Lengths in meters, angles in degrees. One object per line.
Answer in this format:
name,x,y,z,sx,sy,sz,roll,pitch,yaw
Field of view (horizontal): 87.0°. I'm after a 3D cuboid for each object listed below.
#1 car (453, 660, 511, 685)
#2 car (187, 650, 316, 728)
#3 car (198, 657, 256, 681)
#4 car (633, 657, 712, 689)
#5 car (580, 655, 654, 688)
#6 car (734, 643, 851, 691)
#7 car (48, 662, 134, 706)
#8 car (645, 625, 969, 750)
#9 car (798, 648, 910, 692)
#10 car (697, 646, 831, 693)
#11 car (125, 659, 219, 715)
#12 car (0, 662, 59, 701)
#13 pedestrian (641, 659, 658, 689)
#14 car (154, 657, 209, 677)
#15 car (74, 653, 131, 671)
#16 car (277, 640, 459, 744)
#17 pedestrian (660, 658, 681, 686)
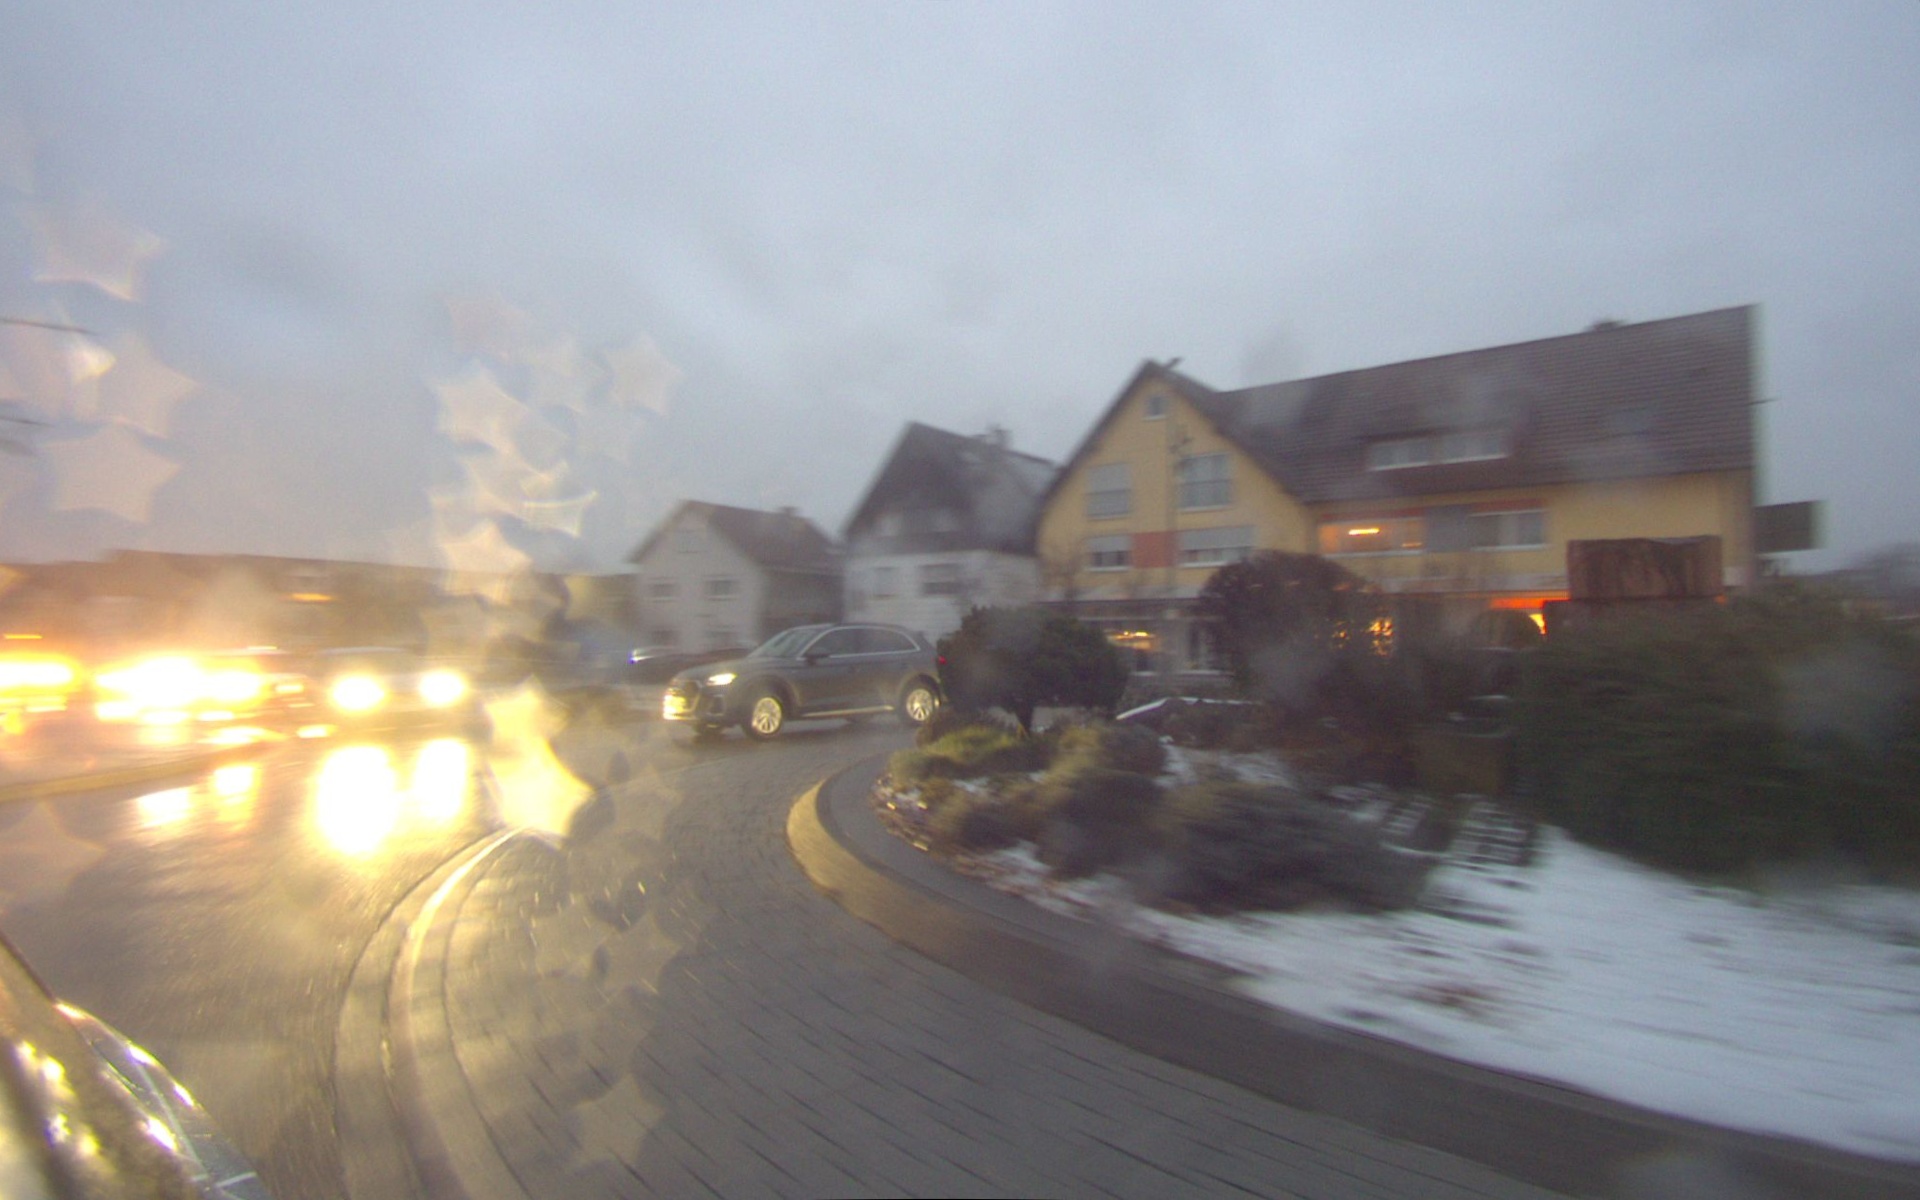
car,-29.413,4.447,62.256,3.490,1.520,1.463,-2,-4,31
car,-16.659,2.014,23.738,4.000,1.636,1.659,-3,-3,43
car,-56.165,5.271,77.534,4.236,1.841,1.783,-2,-4,27
car,-14.908,3.768,52.500,4.083,1.581,1.759,-2,-3,34
car,-18.680,3.873,55.031,3.946,1.673,1.686,-2,-3,31
car,-6.029,2.451,36.799,3.849,1.683,1.837,-1,-5,6
car,-31.764,3.015,36.951,3.996,1.454,1.719,-3,-3,40
car,-2.264,1.240,15.582,4.557,1.605,1.958,0,-3,-38
car,-4.043,2.714,38.961,3.956,1.644,1.759,-1,-5,10
car,-6.520,2.319,34.024,4.124,1.543,1.913,0,-3,2
car,-22.732,2.469,29.158,3.615,1.480,1.551,-4,-3,42
car,-40.275,3.467,43.282,3.706,1.556,1.813,-3,-3,35
pedestrian,-13.701,3.257,44.689,0.595,1.312,0.510,-1,-3,3
car,-61.519,5.292,80.018,3.991,1.480,1.663,-2,-6,23
car,-72.282,5.222,85.277,4.586,1.480,1.786,-2,-4,23
car,-10.695,1.574,18.169,4.002,1.591,1.862,-4,-2,45
pedestrian,-13.199,3.267,46.161,0.601,1.259,0.684,-3,-4,36
